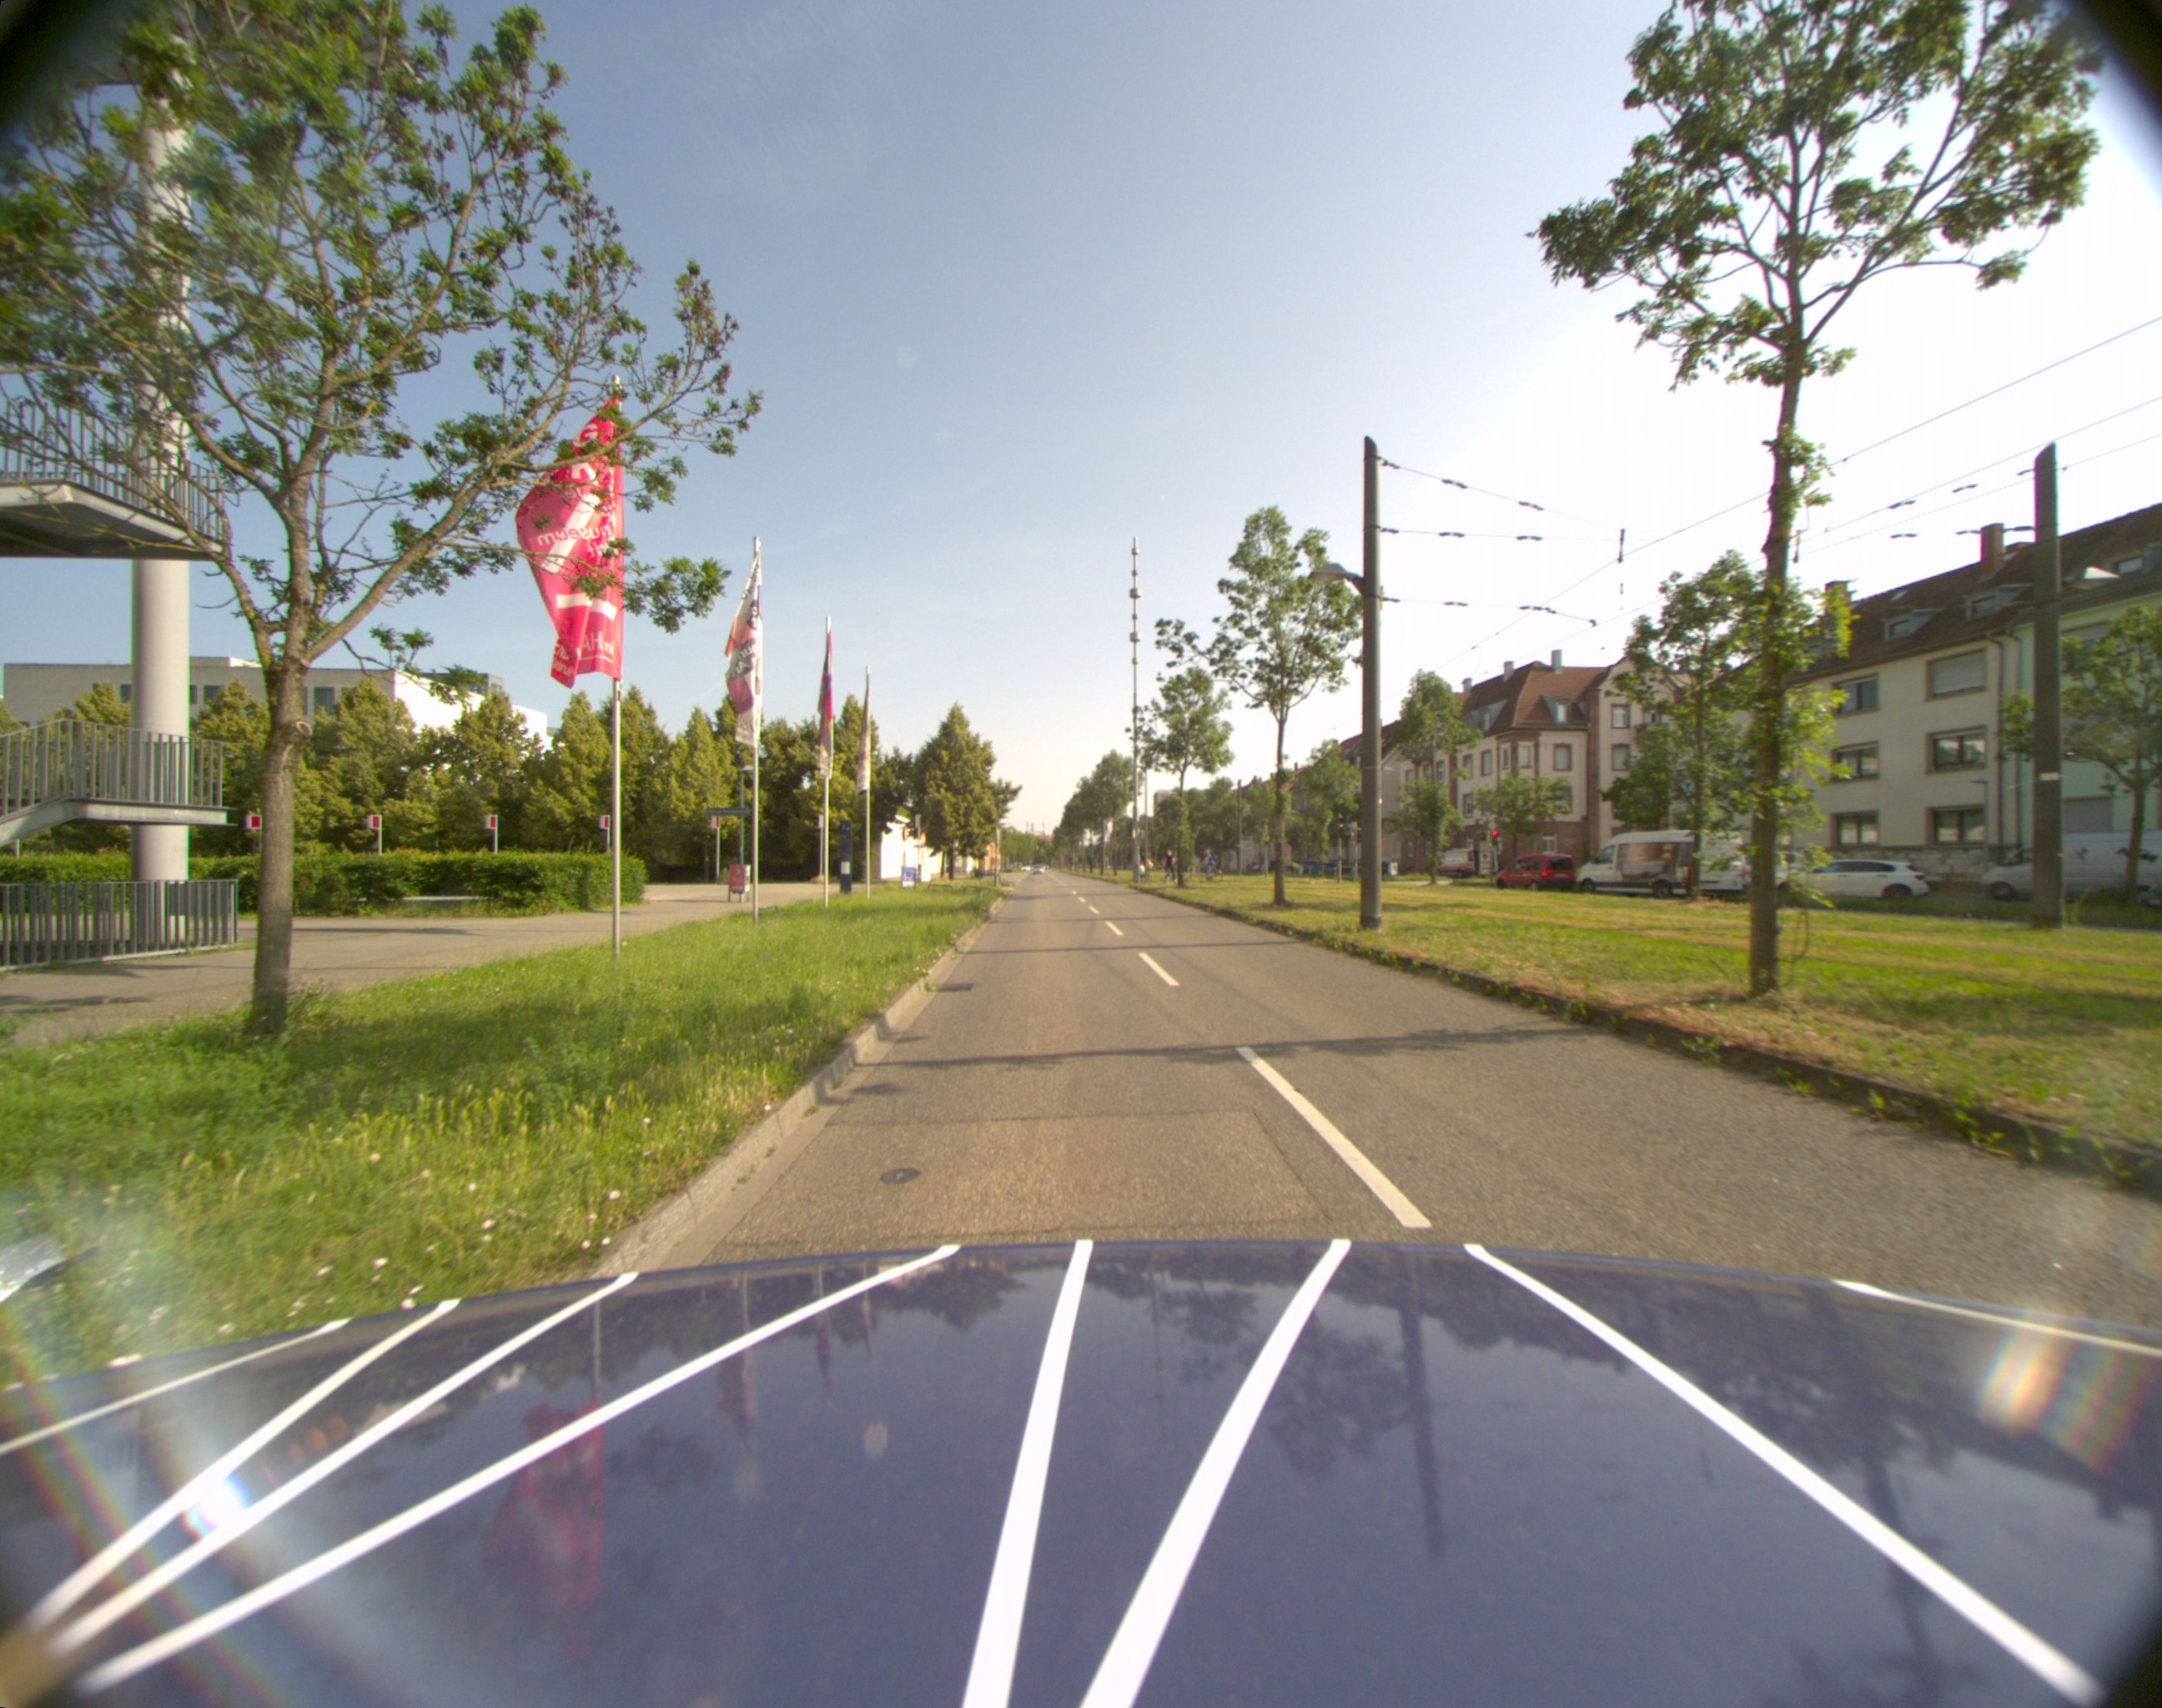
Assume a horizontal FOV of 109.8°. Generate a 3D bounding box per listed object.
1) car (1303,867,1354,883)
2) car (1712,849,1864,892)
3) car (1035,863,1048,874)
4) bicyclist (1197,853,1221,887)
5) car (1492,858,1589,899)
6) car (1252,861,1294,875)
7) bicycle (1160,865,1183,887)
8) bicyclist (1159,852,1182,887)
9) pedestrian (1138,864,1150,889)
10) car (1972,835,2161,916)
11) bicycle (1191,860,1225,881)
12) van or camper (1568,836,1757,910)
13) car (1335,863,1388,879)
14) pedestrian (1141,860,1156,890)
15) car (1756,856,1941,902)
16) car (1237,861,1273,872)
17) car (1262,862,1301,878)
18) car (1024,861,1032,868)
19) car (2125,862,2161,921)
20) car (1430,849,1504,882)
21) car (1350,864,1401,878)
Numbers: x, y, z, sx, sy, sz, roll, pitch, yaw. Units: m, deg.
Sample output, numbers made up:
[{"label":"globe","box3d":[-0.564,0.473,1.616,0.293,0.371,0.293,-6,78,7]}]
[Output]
[{"label":"car","box3d":[24.574,2.051,75.496,4.504,1.432,2.003,-2,0,28]},{"label":"car","box3d":[27.359,0.645,29.612,4.088,1.520,1.816,-2,0,34]},{"label":"car","box3d":[-6.067,2.154,116.177,1.999,1.652,3.999,-1,0,-3]},{"label":"bicyclist","box3d":[7.164,0.875,42.558,1.186,1.840,0.911,-2,1,15]},{"label":"car","box3d":[21.251,1.097,35.351,1.821,1.727,4.160,1,0,-2]},{"label":"car","box3d":[23.255,1.717,92.056,4.490,1.596,2.003,-2,0,26]},{"label":"bicycle","box3d":[4.774,1.155,40.143,0.575,1.139,1.756,0,0,30]},{"label":"bicyclist","box3d":[4.751,0.813,40.341,0.906,1.812,0.873,0,0,30]},{"label":"pedestrian","box3d":[3.389,1.211,40.719,0.456,1.350,0.549,0,0,24]},{"label":"car","box3d":[34.196,0.653,25.460,1.999,2.449,5.576,-2,0,-2]},{"label":"bicycle","box3d":[7.090,0.930,42.533,1.790,1.139,0.577,-2,1,14]},{"label":"van or camper","box3d":[21.430,0.640,28.487,2.147,2.459,6.056,1,0,-4]},{"label":"car","box3d":[25.904,1.573,70.111,4.333,1.318,2.003,-2,0,28]},{"label":"pedestrian","box3d":[3.665,1.124,41.321,0.610,1.594,0.736,0,0,25]},{"label":"car","box3d":[27.101,0.903,27.074,4.355,1.466,1.861,-2,0,34]},{"label":"car","box3d":[24.259,1.750,106.122,4.490,1.482,2.003,-2,0,26]},{"label":"car","box3d":[22.981,1.857,87.045,3.990,1.696,1.878,-2,0,26]},{"label":"car","box3d":[-13.682,2.687,195.547,1.999,1.652,3.999,-1,0,-3]},{"label":"car","box3d":[27.388,0.853,17.354,3.767,1.335,1.776,-2,0,34]},{"label":"car","box3d":[31.962,0.922,63.266,2.355,2.549,6.505,-2,0,-5]},{"label":"car","box3d":[25.401,1.477,65.545,3.840,1.121,1.772,-2,0,28]}]
